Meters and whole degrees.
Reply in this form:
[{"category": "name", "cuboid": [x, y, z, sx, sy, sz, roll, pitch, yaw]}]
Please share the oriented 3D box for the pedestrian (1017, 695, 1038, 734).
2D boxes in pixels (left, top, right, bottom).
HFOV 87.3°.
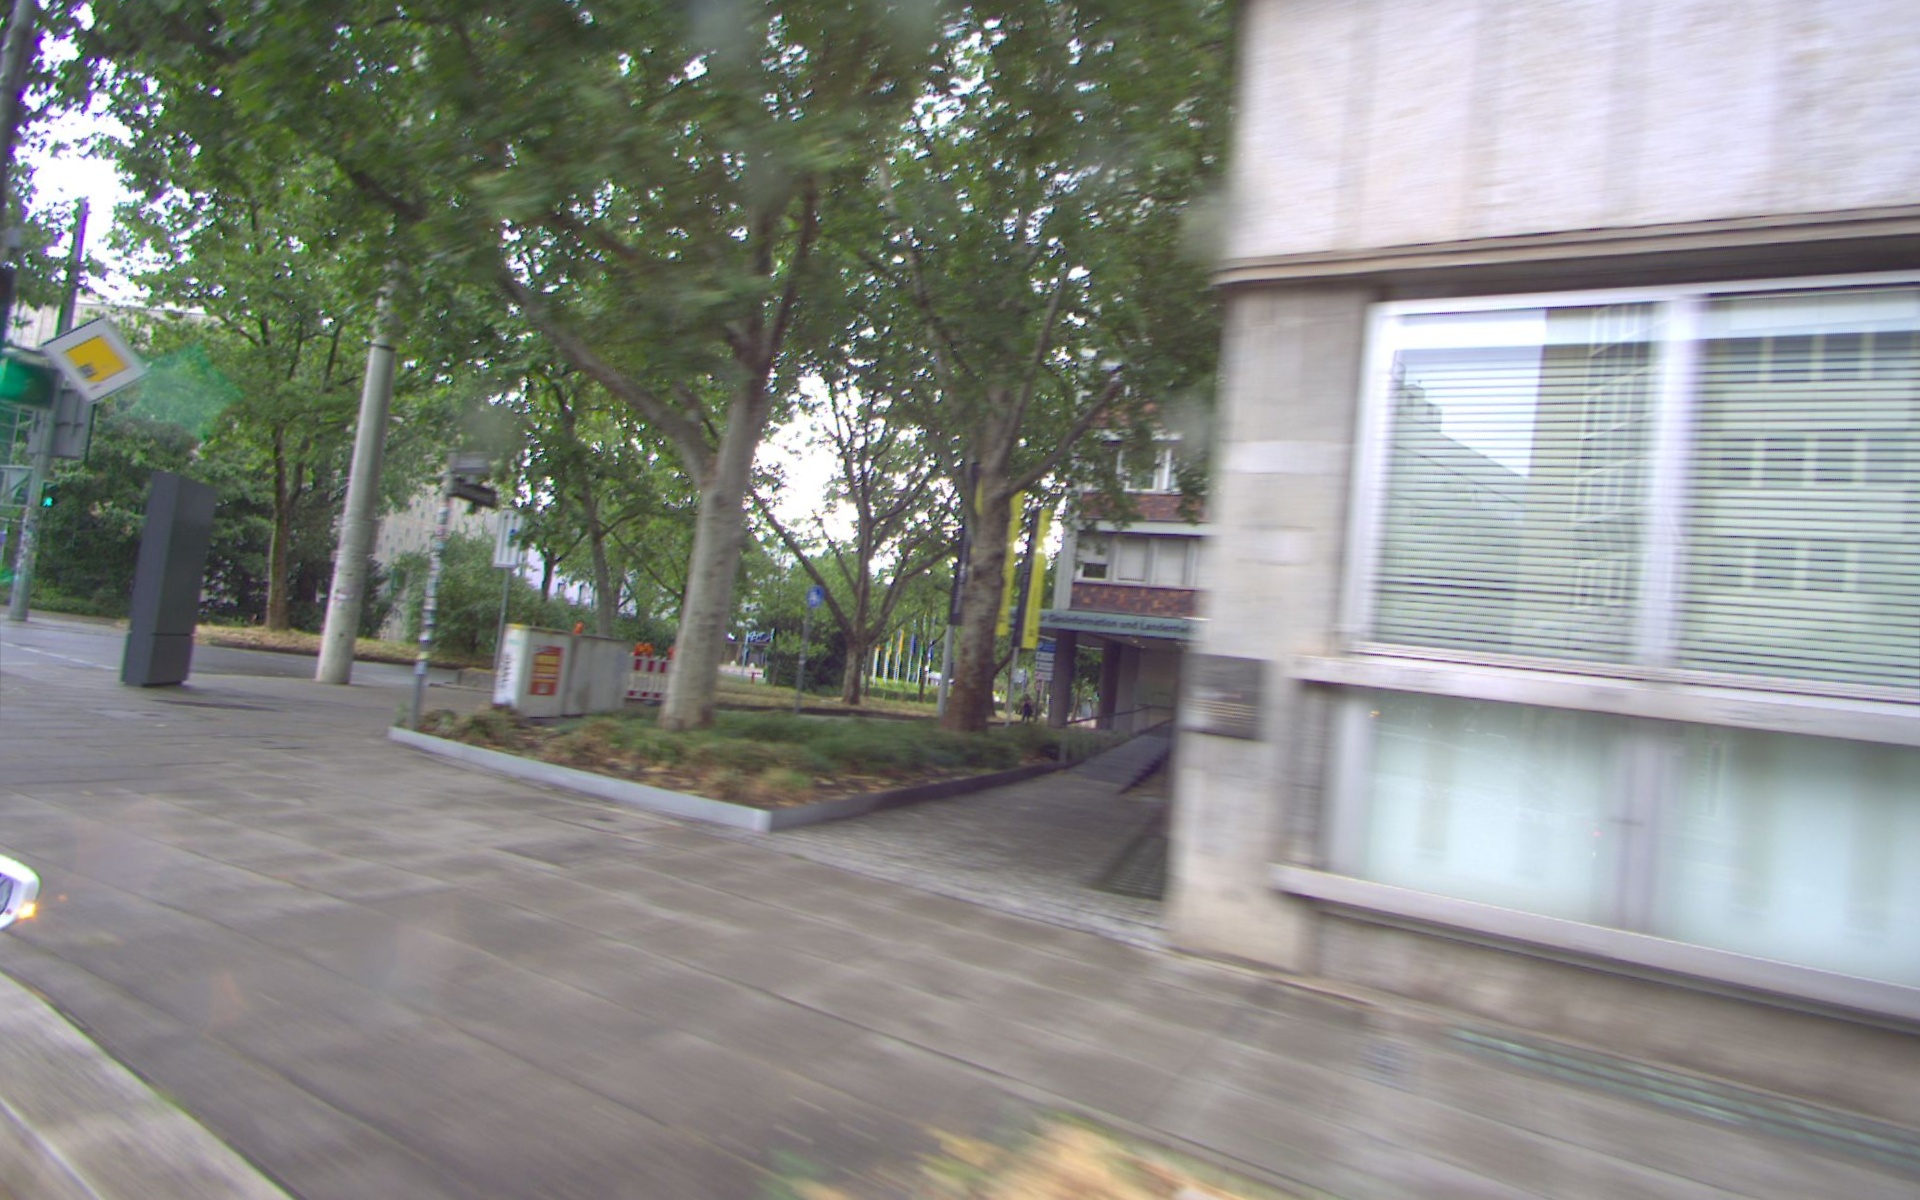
[{"category": "pedestrian", "cuboid": [3.031, 5.148, 45.011, 0.512, 1.655, 0.936, 6, -4, 21]}]
